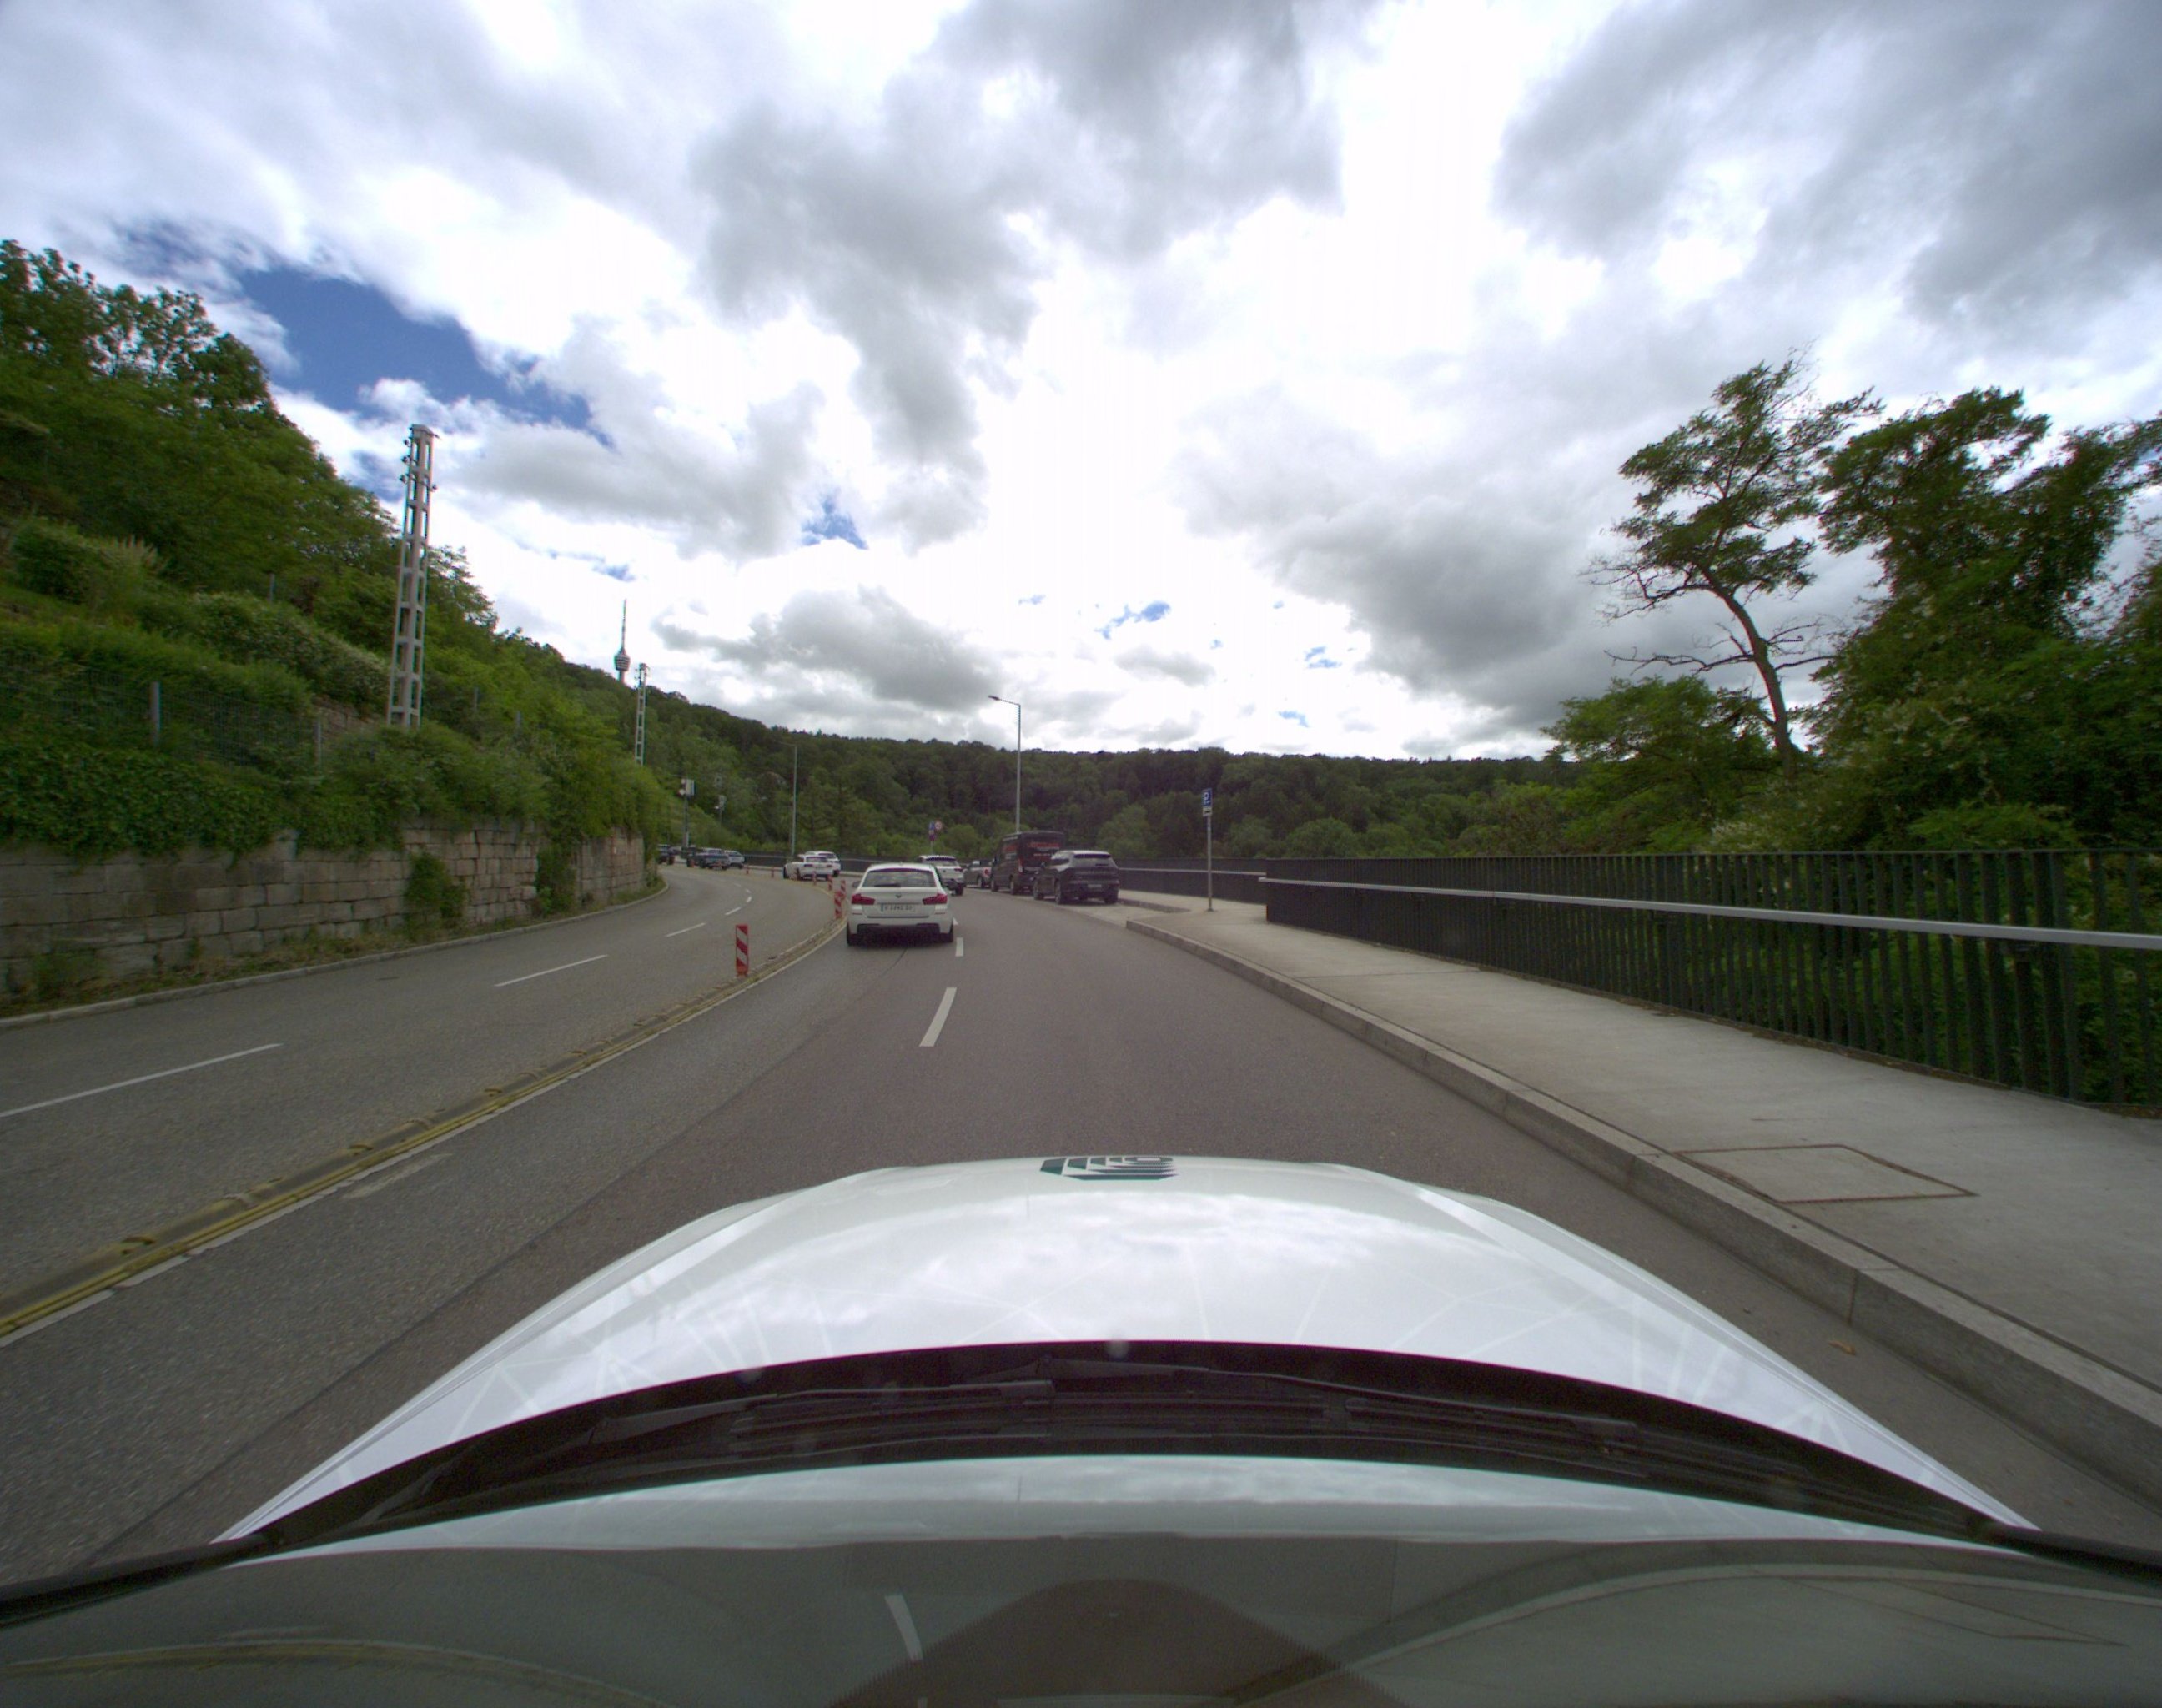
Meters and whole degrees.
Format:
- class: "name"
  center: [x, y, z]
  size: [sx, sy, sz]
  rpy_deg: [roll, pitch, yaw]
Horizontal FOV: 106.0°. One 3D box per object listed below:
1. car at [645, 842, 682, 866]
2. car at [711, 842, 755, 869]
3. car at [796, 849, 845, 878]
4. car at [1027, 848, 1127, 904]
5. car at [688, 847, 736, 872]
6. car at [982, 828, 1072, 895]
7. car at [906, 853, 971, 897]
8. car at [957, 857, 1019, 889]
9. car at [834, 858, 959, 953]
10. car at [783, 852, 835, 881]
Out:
- class: "car"
  center: [-34.950, 0.032, 68.129]
  size: [1.885, 1.762, 3.953]
  rpy_deg: [3, -4, -39]
- class: "car"
  center: [-27.623, 0.132, 64.576]
  size: [2.011, 2.014, 3.952]
  rpy_deg: [0, -1, -42]
- class: "car"
  center: [-17.046, 0.642, 53.142]
  size: [2.008, 1.718, 4.070]
  rpy_deg: [-2, -1, -33]
- class: "car"
  center: [-0.251, 0.718, 27.797]
  size: [1.999, 1.718, 5.019]
  rpy_deg: [-1, -1, -18]
- class: "car"
  center: [-26.929, 0.425, 59.378]
  size: [2.011, 1.648, 3.951]
  rpy_deg: [-2, -1, -43]
- class: "car"
  center: [-2.405, 0.278, 34.228]
  size: [2.174, 2.521, 5.731]
  rpy_deg: [-2, 1, -21]
- class: "car"
  center: [-5.806, 0.829, 32.836]
  size: [1.835, 1.606, 3.971]
  rpy_deg: [-2, -1, -21]
- class: "car"
  center: [-4.539, 0.882, 39.469]
  size: [1.724, 1.431, 3.815]
  rpy_deg: [1, 0, -28]
- class: "car"
  center: [-3.398, 0.863, 15.832]
  size: [1.826, 1.459, 4.476]
  rpy_deg: [-2, 1, -6]
- class: "car"
  center: [-15.568, 0.711, 46.487]
  size: [2.006, 1.503, 4.624]
  rpy_deg: [-2, 0, -29]
